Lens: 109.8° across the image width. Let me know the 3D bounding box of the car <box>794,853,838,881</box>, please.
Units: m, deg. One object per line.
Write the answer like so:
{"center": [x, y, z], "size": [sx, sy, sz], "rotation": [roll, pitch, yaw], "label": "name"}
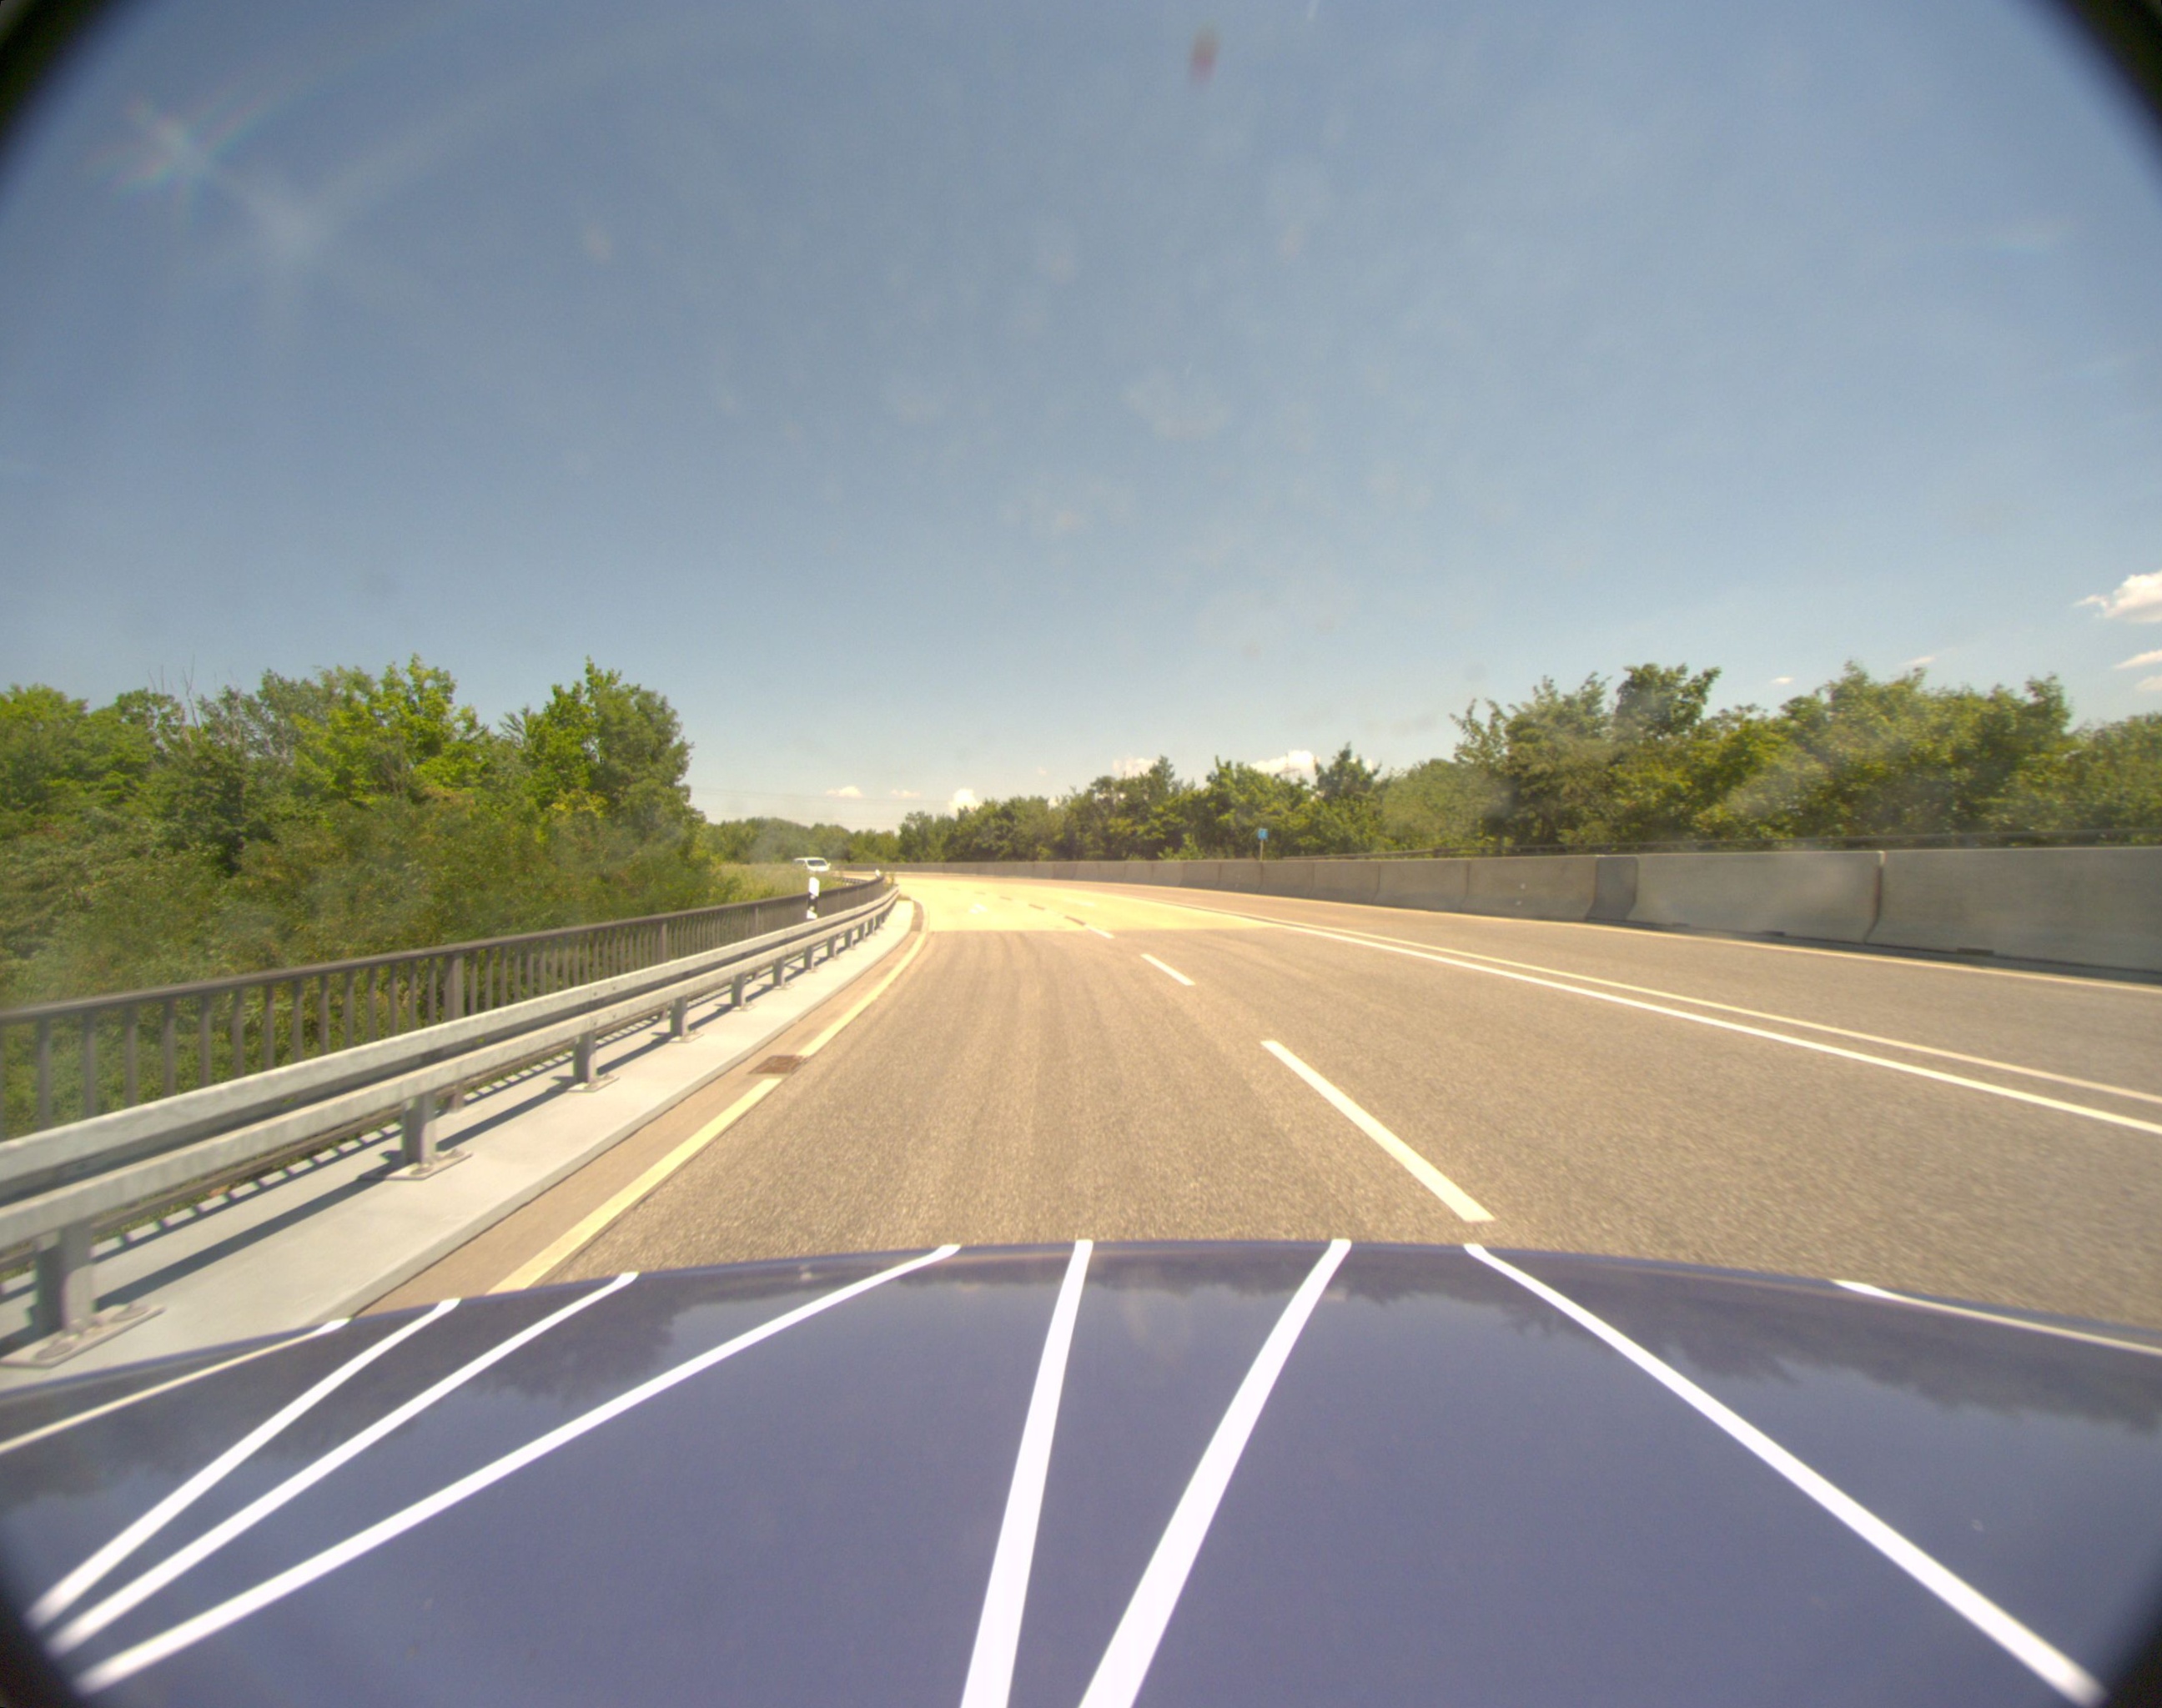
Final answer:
{"center": [-22.591, 1.072, 64.602], "size": [2.035, 2.073, 5.855], "rotation": [-2, 3, -35], "label": "car"}
